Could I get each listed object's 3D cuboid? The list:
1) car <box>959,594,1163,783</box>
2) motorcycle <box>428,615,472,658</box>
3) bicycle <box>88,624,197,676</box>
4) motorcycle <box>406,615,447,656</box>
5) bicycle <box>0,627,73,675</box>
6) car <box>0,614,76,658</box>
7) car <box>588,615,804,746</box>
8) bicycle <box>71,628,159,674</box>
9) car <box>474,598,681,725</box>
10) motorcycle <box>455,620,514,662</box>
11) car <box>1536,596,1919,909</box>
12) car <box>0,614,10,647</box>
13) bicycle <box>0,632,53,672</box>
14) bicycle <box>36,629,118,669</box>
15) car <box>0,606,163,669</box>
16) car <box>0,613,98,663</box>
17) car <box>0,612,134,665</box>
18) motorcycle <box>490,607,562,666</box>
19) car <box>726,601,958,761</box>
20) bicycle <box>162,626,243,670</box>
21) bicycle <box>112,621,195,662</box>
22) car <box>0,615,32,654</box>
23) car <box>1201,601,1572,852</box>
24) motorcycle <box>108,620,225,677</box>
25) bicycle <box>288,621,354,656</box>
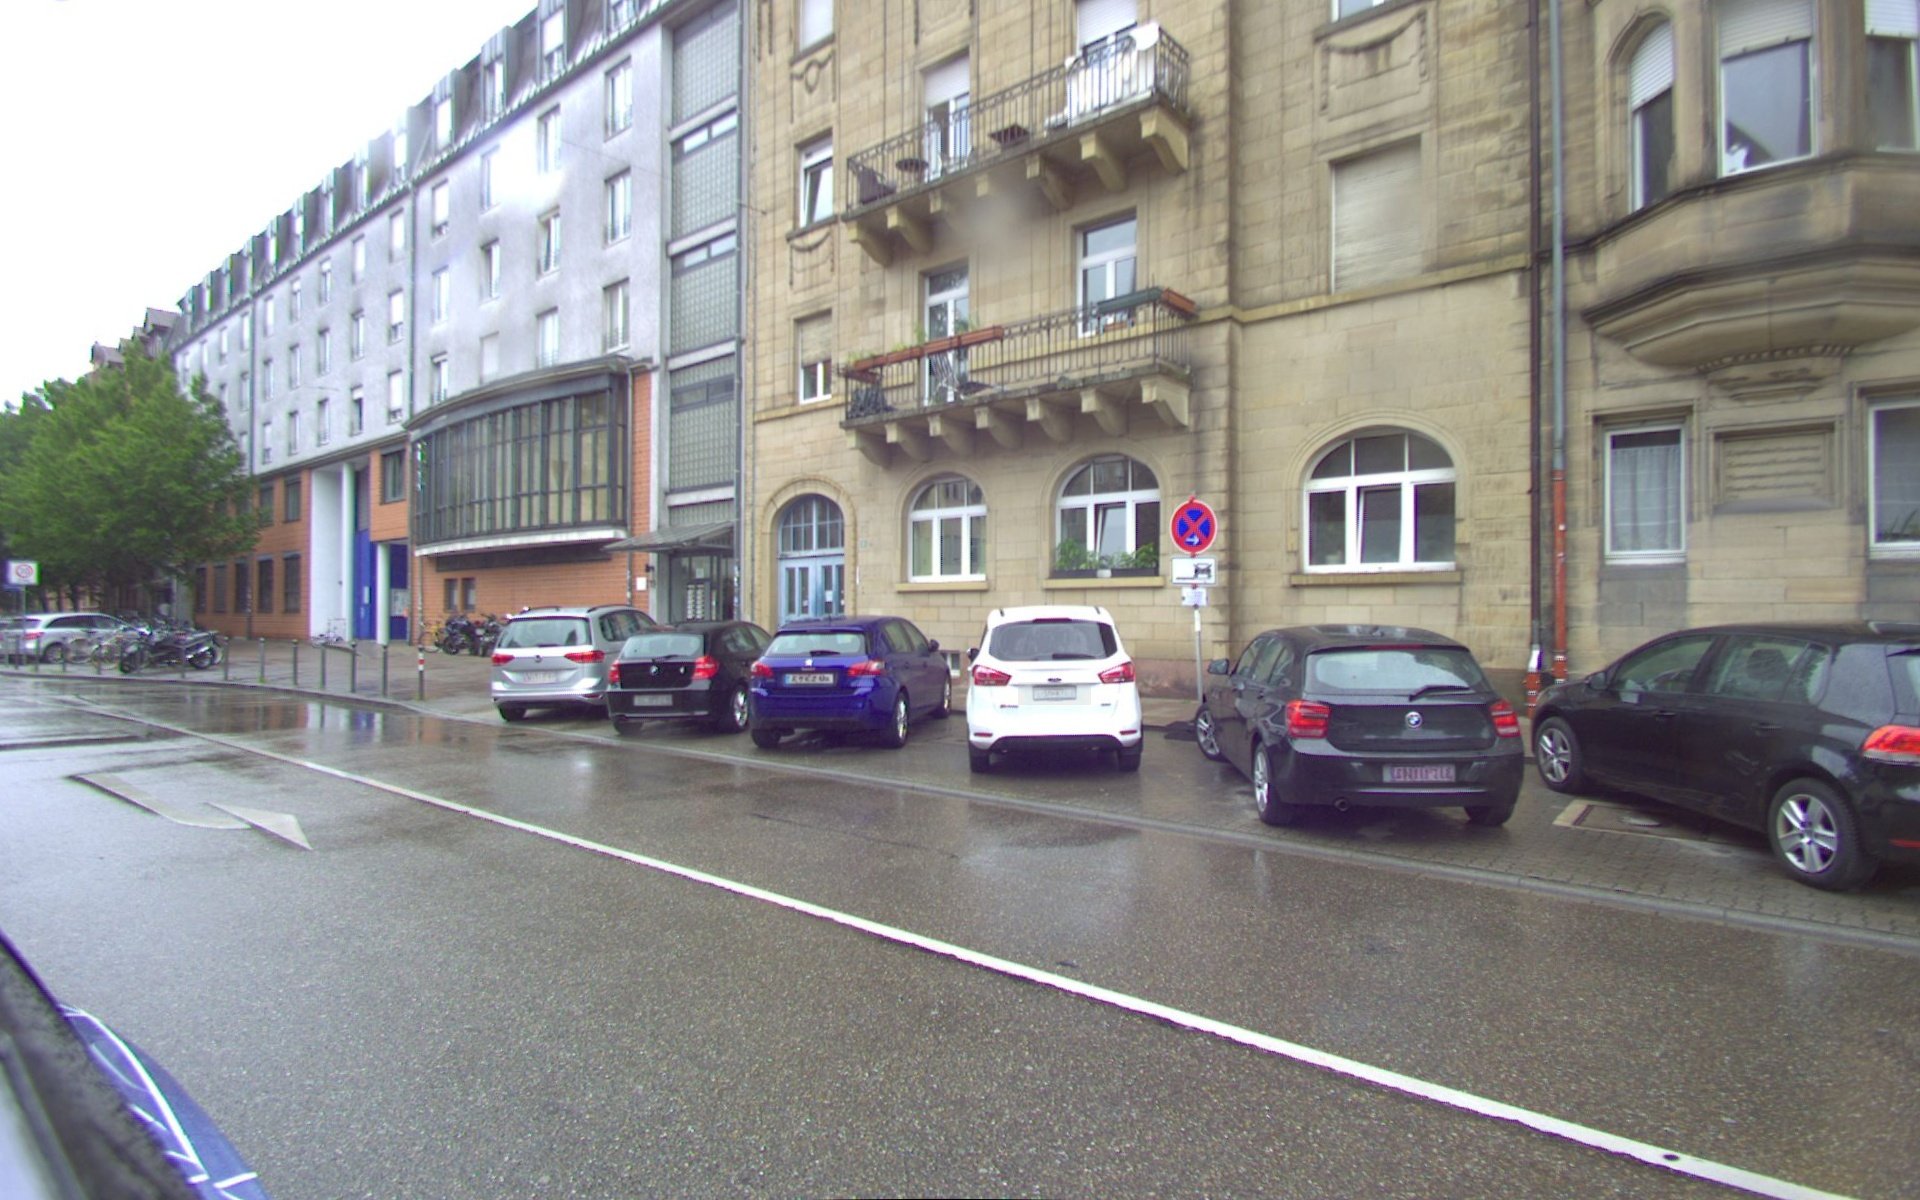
[{"bbox_3d":[0.973,0.780,10.797,1.755,1.639,3.724,-1,0,3],"label":"car"},{"bbox_3d":[-15.022,1.070,29.803,1.676,1.238,0.539,-1,-2,41],"label":"motorcycle"},{"bbox_3d":[-20.909,1.248,25.926,0.772,1.181,2.024,-1,1,38],"label":"bicycle"},{"bbox_3d":[-16.342,1.075,30.977,1.676,1.238,0.539,-1,-2,41],"label":"motorcycle"},{"bbox_3d":[-24.034,1.316,26.059,0.544,1.081,1.668,-1,3,38],"label":"bicycle"},{"bbox_3d":[-38.110,1.425,40.421,1.993,1.728,3.762,0,-2,31],"label":"car"},{"bbox_3d":[-3.456,1.020,13.989,1.697,1.539,3.721,0,-2,6],"label":"car"},{"bbox_3d":[-21.892,1.300,26.250,0.544,1.081,1.667,-1,1,38],"label":"bicycle"},{"bbox_3d":[-5.832,0.906,15.953,1.791,1.743,3.923,1,-2,-1],"label":"car"},{"bbox_3d":[-13.345,1.131,28.359,2.361,1.110,0.591,-1,-2,41],"label":"motorcycle"},{"bbox_3d":[5.684,0.770,6.685,1.606,1.555,3.758,-1,0,1],"label":"car"},{"bbox_3d":[-52.630,1.576,53.048,1.899,1.728,3.762,0,-2,31],"label":"car"},{"bbox_3d":[-26.447,1.431,28.158,0.544,1.081,1.667,-1,-4,38],"label":"bicycle"},{"bbox_3d":[-24.881,1.367,28.540,0.544,1.081,1.667,-1,-1,38],"label":"bicycle"},{"bbox_3d":[-27.858,1.161,31.841,1.981,1.828,3.981,0,-2,14],"label":"car"},{"bbox_3d":[-33.983,1.366,36.654,1.993,1.728,3.762,0,-2,31],"label":"car"},{"bbox_3d":[-31.332,1.319,35.028,1.993,1.728,3.762,0,-2,31],"label":"car"},{"bbox_3d":[-11.409,0.939,26.586,2.361,1.474,0.767,-1,-2,41],"label":"motorcycle"},{"bbox_3d":[-1.265,0.840,12.505,1.881,1.539,3.716,0,2,10],"label":"car"},{"bbox_3d":[-20.615,1.284,27.575,0.544,1.081,1.667,-1,1,38],"label":"bicycle"},{"bbox_3d":[-21.869,1.111,27.458,0.544,1.081,1.667,-1,-2,38],"label":"bicycle"},{"bbox_3d":[-43.943,1.505,44.832,1.993,1.728,3.762,0,-2,31],"label":"car"},{"bbox_3d":[3.150,0.817,8.326,1.757,1.555,3.721,-1,0,6],"label":"car"},{"bbox_3d":[-19.979,1.186,25.527,0.758,1.320,2.226,-1,0,41],"label":"motorcycle"},{"bbox_3d":[-23.113,1.380,36.648,1.873,1.234,0.939,1,-2,-23],"label":"bicycle"}]
